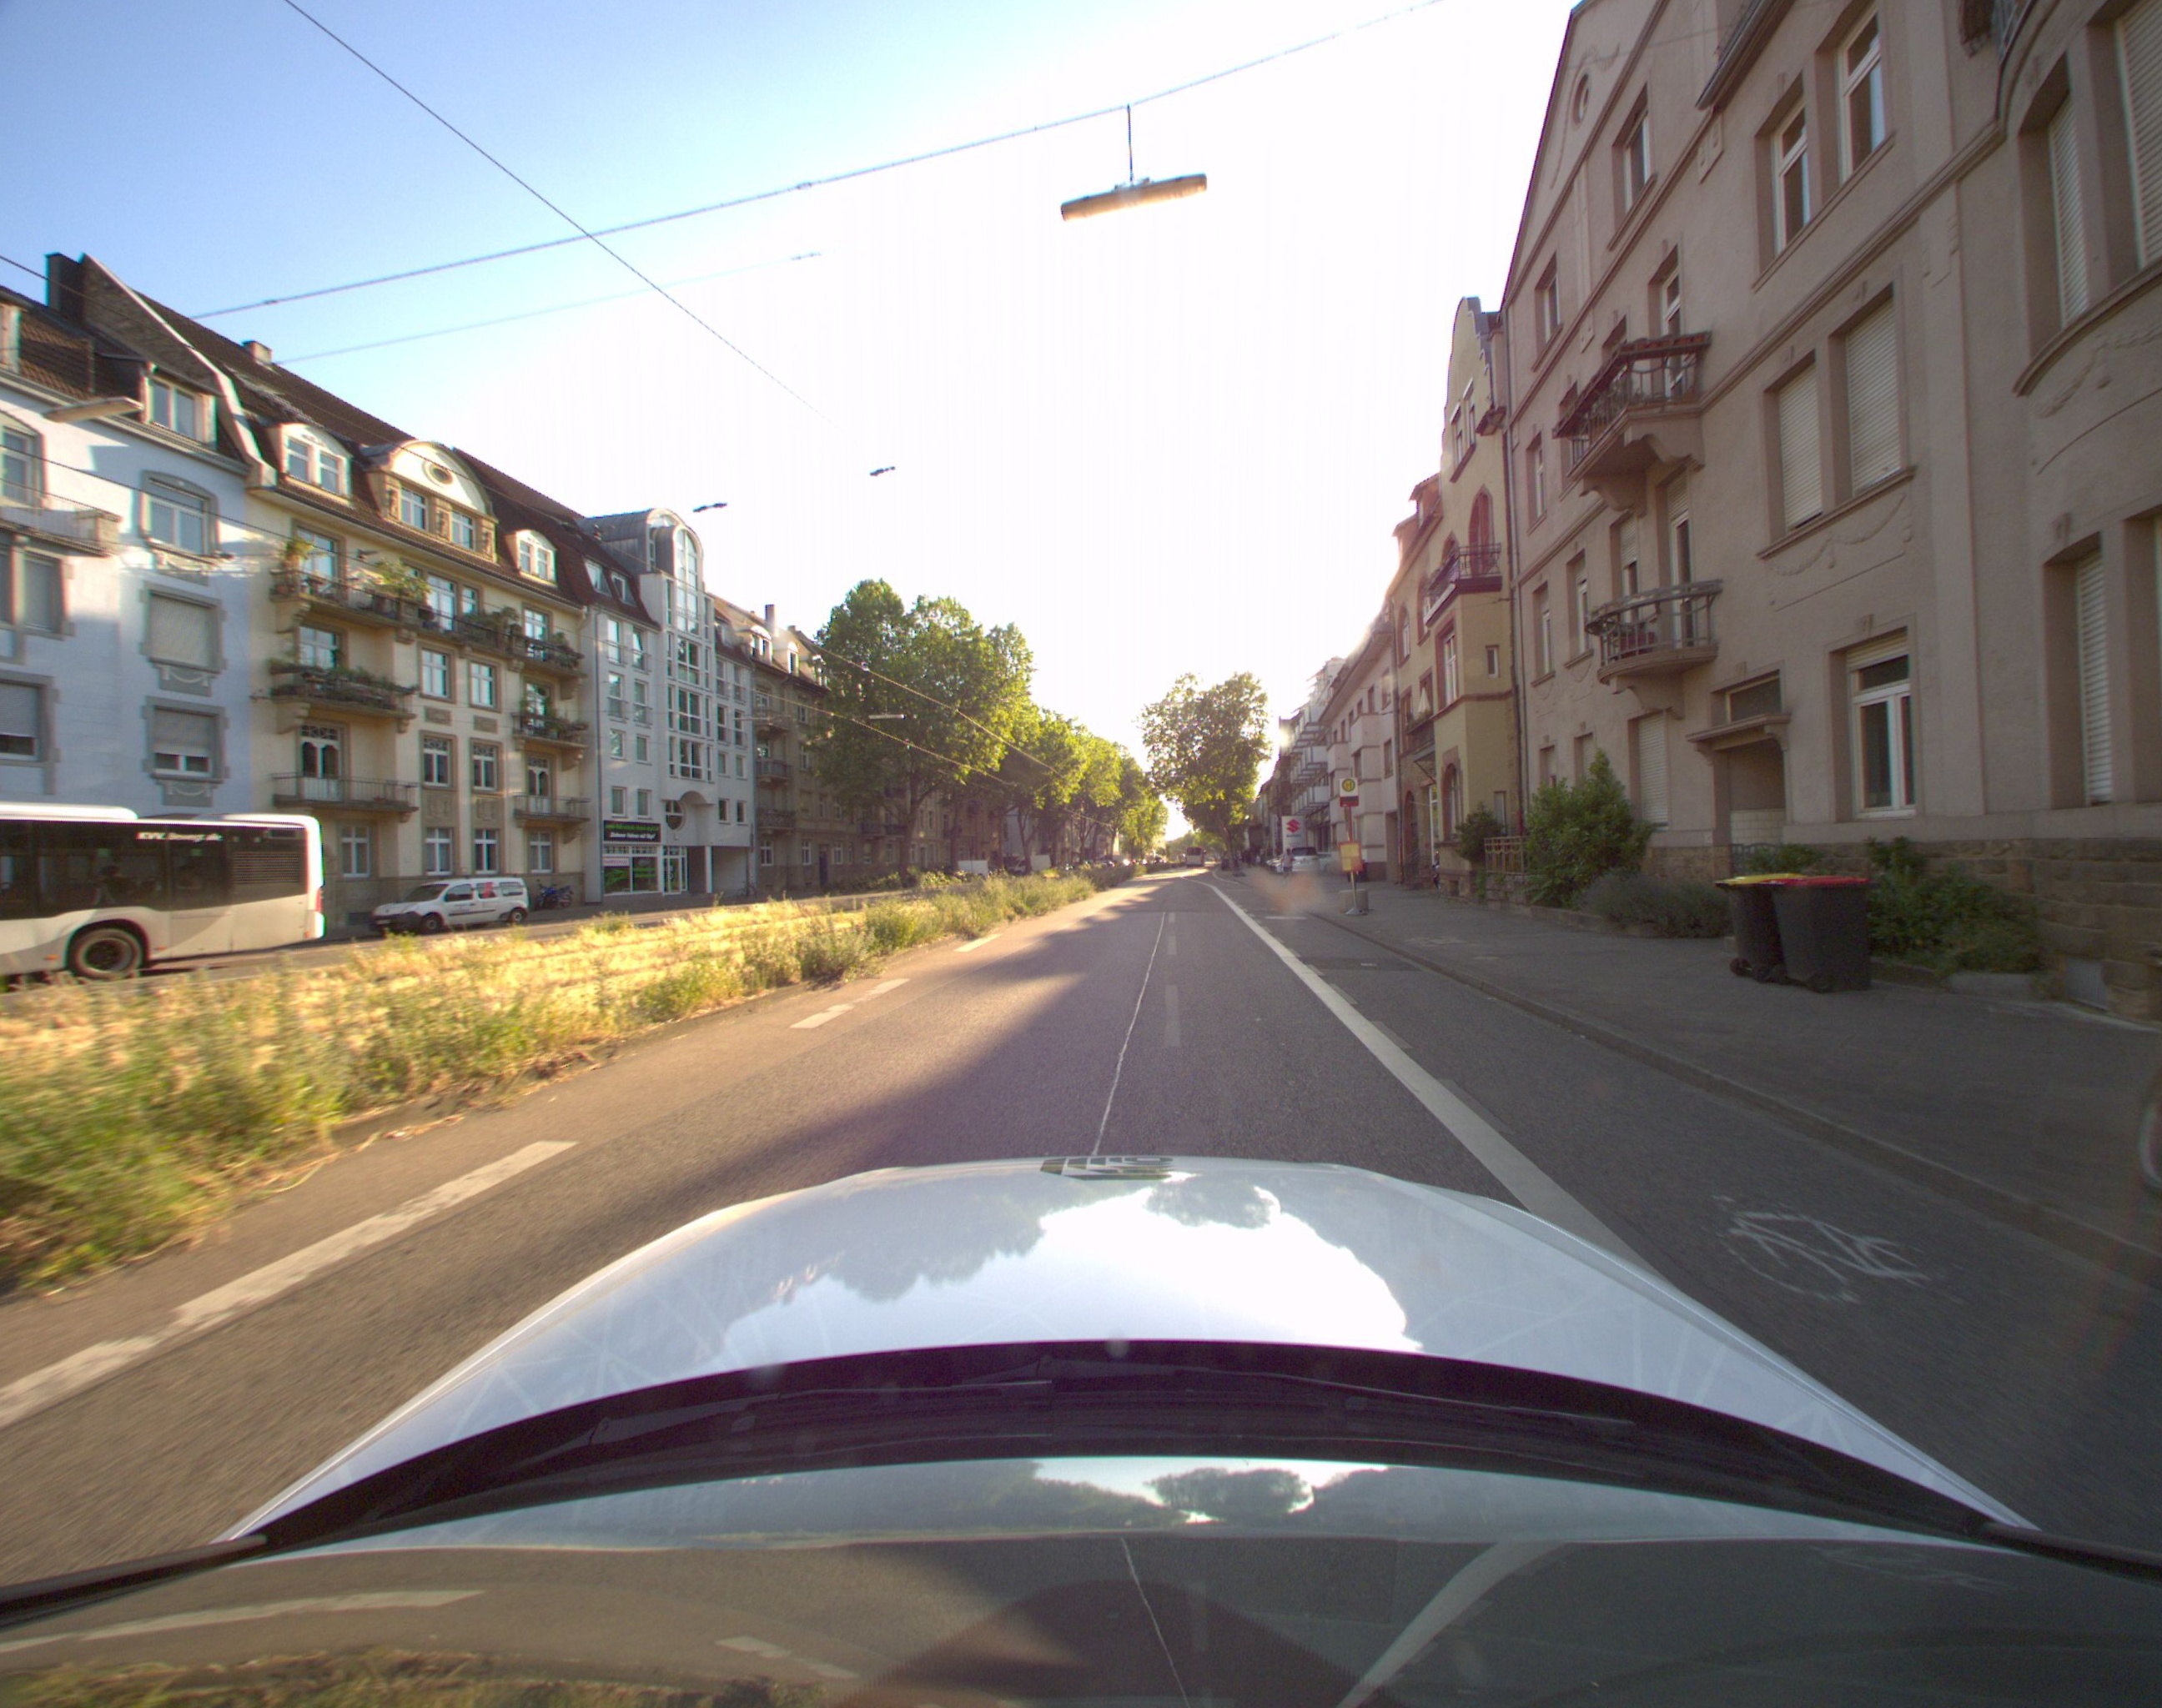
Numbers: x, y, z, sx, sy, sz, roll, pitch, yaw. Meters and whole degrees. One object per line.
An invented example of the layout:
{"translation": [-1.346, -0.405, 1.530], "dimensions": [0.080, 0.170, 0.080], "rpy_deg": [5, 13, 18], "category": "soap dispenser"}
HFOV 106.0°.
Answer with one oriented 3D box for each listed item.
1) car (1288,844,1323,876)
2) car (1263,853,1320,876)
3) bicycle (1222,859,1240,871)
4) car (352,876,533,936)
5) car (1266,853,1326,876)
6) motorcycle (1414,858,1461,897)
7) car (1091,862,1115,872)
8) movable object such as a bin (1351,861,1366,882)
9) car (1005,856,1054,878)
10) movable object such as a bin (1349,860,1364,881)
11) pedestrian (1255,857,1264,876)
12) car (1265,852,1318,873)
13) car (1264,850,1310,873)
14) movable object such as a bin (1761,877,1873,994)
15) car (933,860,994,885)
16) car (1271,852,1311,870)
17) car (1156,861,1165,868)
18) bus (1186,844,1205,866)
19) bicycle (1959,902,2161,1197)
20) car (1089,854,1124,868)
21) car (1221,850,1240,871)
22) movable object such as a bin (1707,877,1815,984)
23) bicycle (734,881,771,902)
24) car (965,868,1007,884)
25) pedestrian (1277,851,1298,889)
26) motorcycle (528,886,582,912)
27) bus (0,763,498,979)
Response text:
{"translation": [14.404, 0.420, 52.454], "dimensions": [1.879, 1.949, 4.917], "rpy_deg": [-2, -2, 13], "category": "car"}
{"translation": [15.284, 0.784, 59.288], "dimensions": [3.847, 1.514, 1.813], "rpy_deg": [-2, 0, 8], "category": "car"}
{"translation": [15.380, 1.165, 83.442], "dimensions": [1.834, 1.143, 0.349], "rpy_deg": [-2, -2, 9], "category": "bicycle"}
{"translation": [-21.292, 1.661, 27.447], "dimensions": [1.892, 1.787, 4.667], "rpy_deg": [-2, -2, 12], "category": "car"}
{"translation": [15.015, 0.721, 56.994], "dimensions": [3.793, 1.501, 1.916], "rpy_deg": [-2, 0, 4], "category": "car"}
{"translation": [11.103, 0.721, 25.467], "dimensions": [0.586, 1.137, 2.509], "rpy_deg": [-2, -2, 6], "category": "motorcycle"}
{"translation": [4.229, 2.511, 155.233], "dimensions": [4.003, 1.699, 1.842], "rpy_deg": [-3, -1, -22], "category": "car"}
{"translation": [12.912, 0.801, 37.871], "dimensions": [0.550, 0.969, 0.586], "rpy_deg": [-2, -2, 11], "category": "movable object such as a bin"}
{"translation": [-6.292, 1.564, 99.384], "dimensions": [5.528, 2.529, 2.104], "rpy_deg": [-1, -1, -33], "category": "car"}
{"translation": [13.005, 0.795, 38.485], "dimensions": [0.550, 0.969, 0.586], "rpy_deg": [-2, -2, 11], "category": "movable object such as a bin"}
{"translation": [16.076, 1.136, 73.405], "dimensions": [0.659, 1.629, 0.925], "rpy_deg": [-2, -2, 10], "category": "pedestrian"}
{"translation": [16.525, 0.665, 63.976], "dimensions": [3.797, 1.541, 1.863], "rpy_deg": [-2, -1, 8], "category": "car"}
{"translation": [16.660, 0.622, 65.980], "dimensions": [3.557, 1.720, 1.687], "rpy_deg": [-2, 0, 11], "category": "car"}
{"translation": [7.000, 0.753, 7.775], "dimensions": [0.564, 1.046, 0.662], "rpy_deg": [-2, -2, 22], "category": "movable object such as a bin"}
{"translation": [-10.760, 1.698, 74.505], "dimensions": [5.266, 2.066, 1.704], "rpy_deg": [-1, -1, -33], "category": "car"}
{"translation": [19.363, 0.661, 75.159], "dimensions": [3.399, 1.546, 1.445], "rpy_deg": [-2, -2, 7], "category": "car"}
{"translation": [19.104, 2.552, 195.756], "dimensions": [1.862, 1.694, 4.777], "rpy_deg": [-2, -2, 1], "category": "car"}
{"translation": [17.693, 0.247, 126.112], "dimensions": [2.818, 3.236, 8.199], "rpy_deg": [-2, -2, 8], "category": "bus"}
{"translation": [4.404, 0.783, 2.975], "dimensions": [0.434, 1.098, 1.935], "rpy_deg": [-2, -1, 6], "category": "bicycle"}
{"translation": [5.349, 1.543, 170.888], "dimensions": [6.940, 2.678, 2.177], "rpy_deg": [-1, -2, -11], "category": "car"}
{"translation": [16.876, 0.798, 92.098], "dimensions": [1.982, 2.257, 5.248], "rpy_deg": [-2, -2, 9], "category": "car"}
{"translation": [7.054, 0.779, 8.485], "dimensions": [0.650, 1.046, 0.662], "rpy_deg": [-2, -2, 22], "category": "movable object such as a bin"}
{"translation": [-18.317, 2.095, 45.446], "dimensions": [0.750, 1.033, 1.905], "rpy_deg": [4, 1, 23], "category": "bicycle"}
{"translation": [-9.462, 2.153, 80.967], "dimensions": [3.742, 1.422, 1.704], "rpy_deg": [-1, -1, -33], "category": "car"}
{"translation": [10.030, 0.778, 39.541], "dimensions": [0.824, 1.813, 1.153], "rpy_deg": [-2, -2, 8], "category": "pedestrian"}
{"translation": [-23.460, 2.006, 36.380], "dimensions": [0.525, 1.021, 2.426], "rpy_deg": [1, 0, 9], "category": "motorcycle"}
{"translation": [-17.969, 0.369, 15.676], "dimensions": [3.234, 3.374, 12.011], "rpy_deg": [-2, -2, 11], "category": "bus"}
